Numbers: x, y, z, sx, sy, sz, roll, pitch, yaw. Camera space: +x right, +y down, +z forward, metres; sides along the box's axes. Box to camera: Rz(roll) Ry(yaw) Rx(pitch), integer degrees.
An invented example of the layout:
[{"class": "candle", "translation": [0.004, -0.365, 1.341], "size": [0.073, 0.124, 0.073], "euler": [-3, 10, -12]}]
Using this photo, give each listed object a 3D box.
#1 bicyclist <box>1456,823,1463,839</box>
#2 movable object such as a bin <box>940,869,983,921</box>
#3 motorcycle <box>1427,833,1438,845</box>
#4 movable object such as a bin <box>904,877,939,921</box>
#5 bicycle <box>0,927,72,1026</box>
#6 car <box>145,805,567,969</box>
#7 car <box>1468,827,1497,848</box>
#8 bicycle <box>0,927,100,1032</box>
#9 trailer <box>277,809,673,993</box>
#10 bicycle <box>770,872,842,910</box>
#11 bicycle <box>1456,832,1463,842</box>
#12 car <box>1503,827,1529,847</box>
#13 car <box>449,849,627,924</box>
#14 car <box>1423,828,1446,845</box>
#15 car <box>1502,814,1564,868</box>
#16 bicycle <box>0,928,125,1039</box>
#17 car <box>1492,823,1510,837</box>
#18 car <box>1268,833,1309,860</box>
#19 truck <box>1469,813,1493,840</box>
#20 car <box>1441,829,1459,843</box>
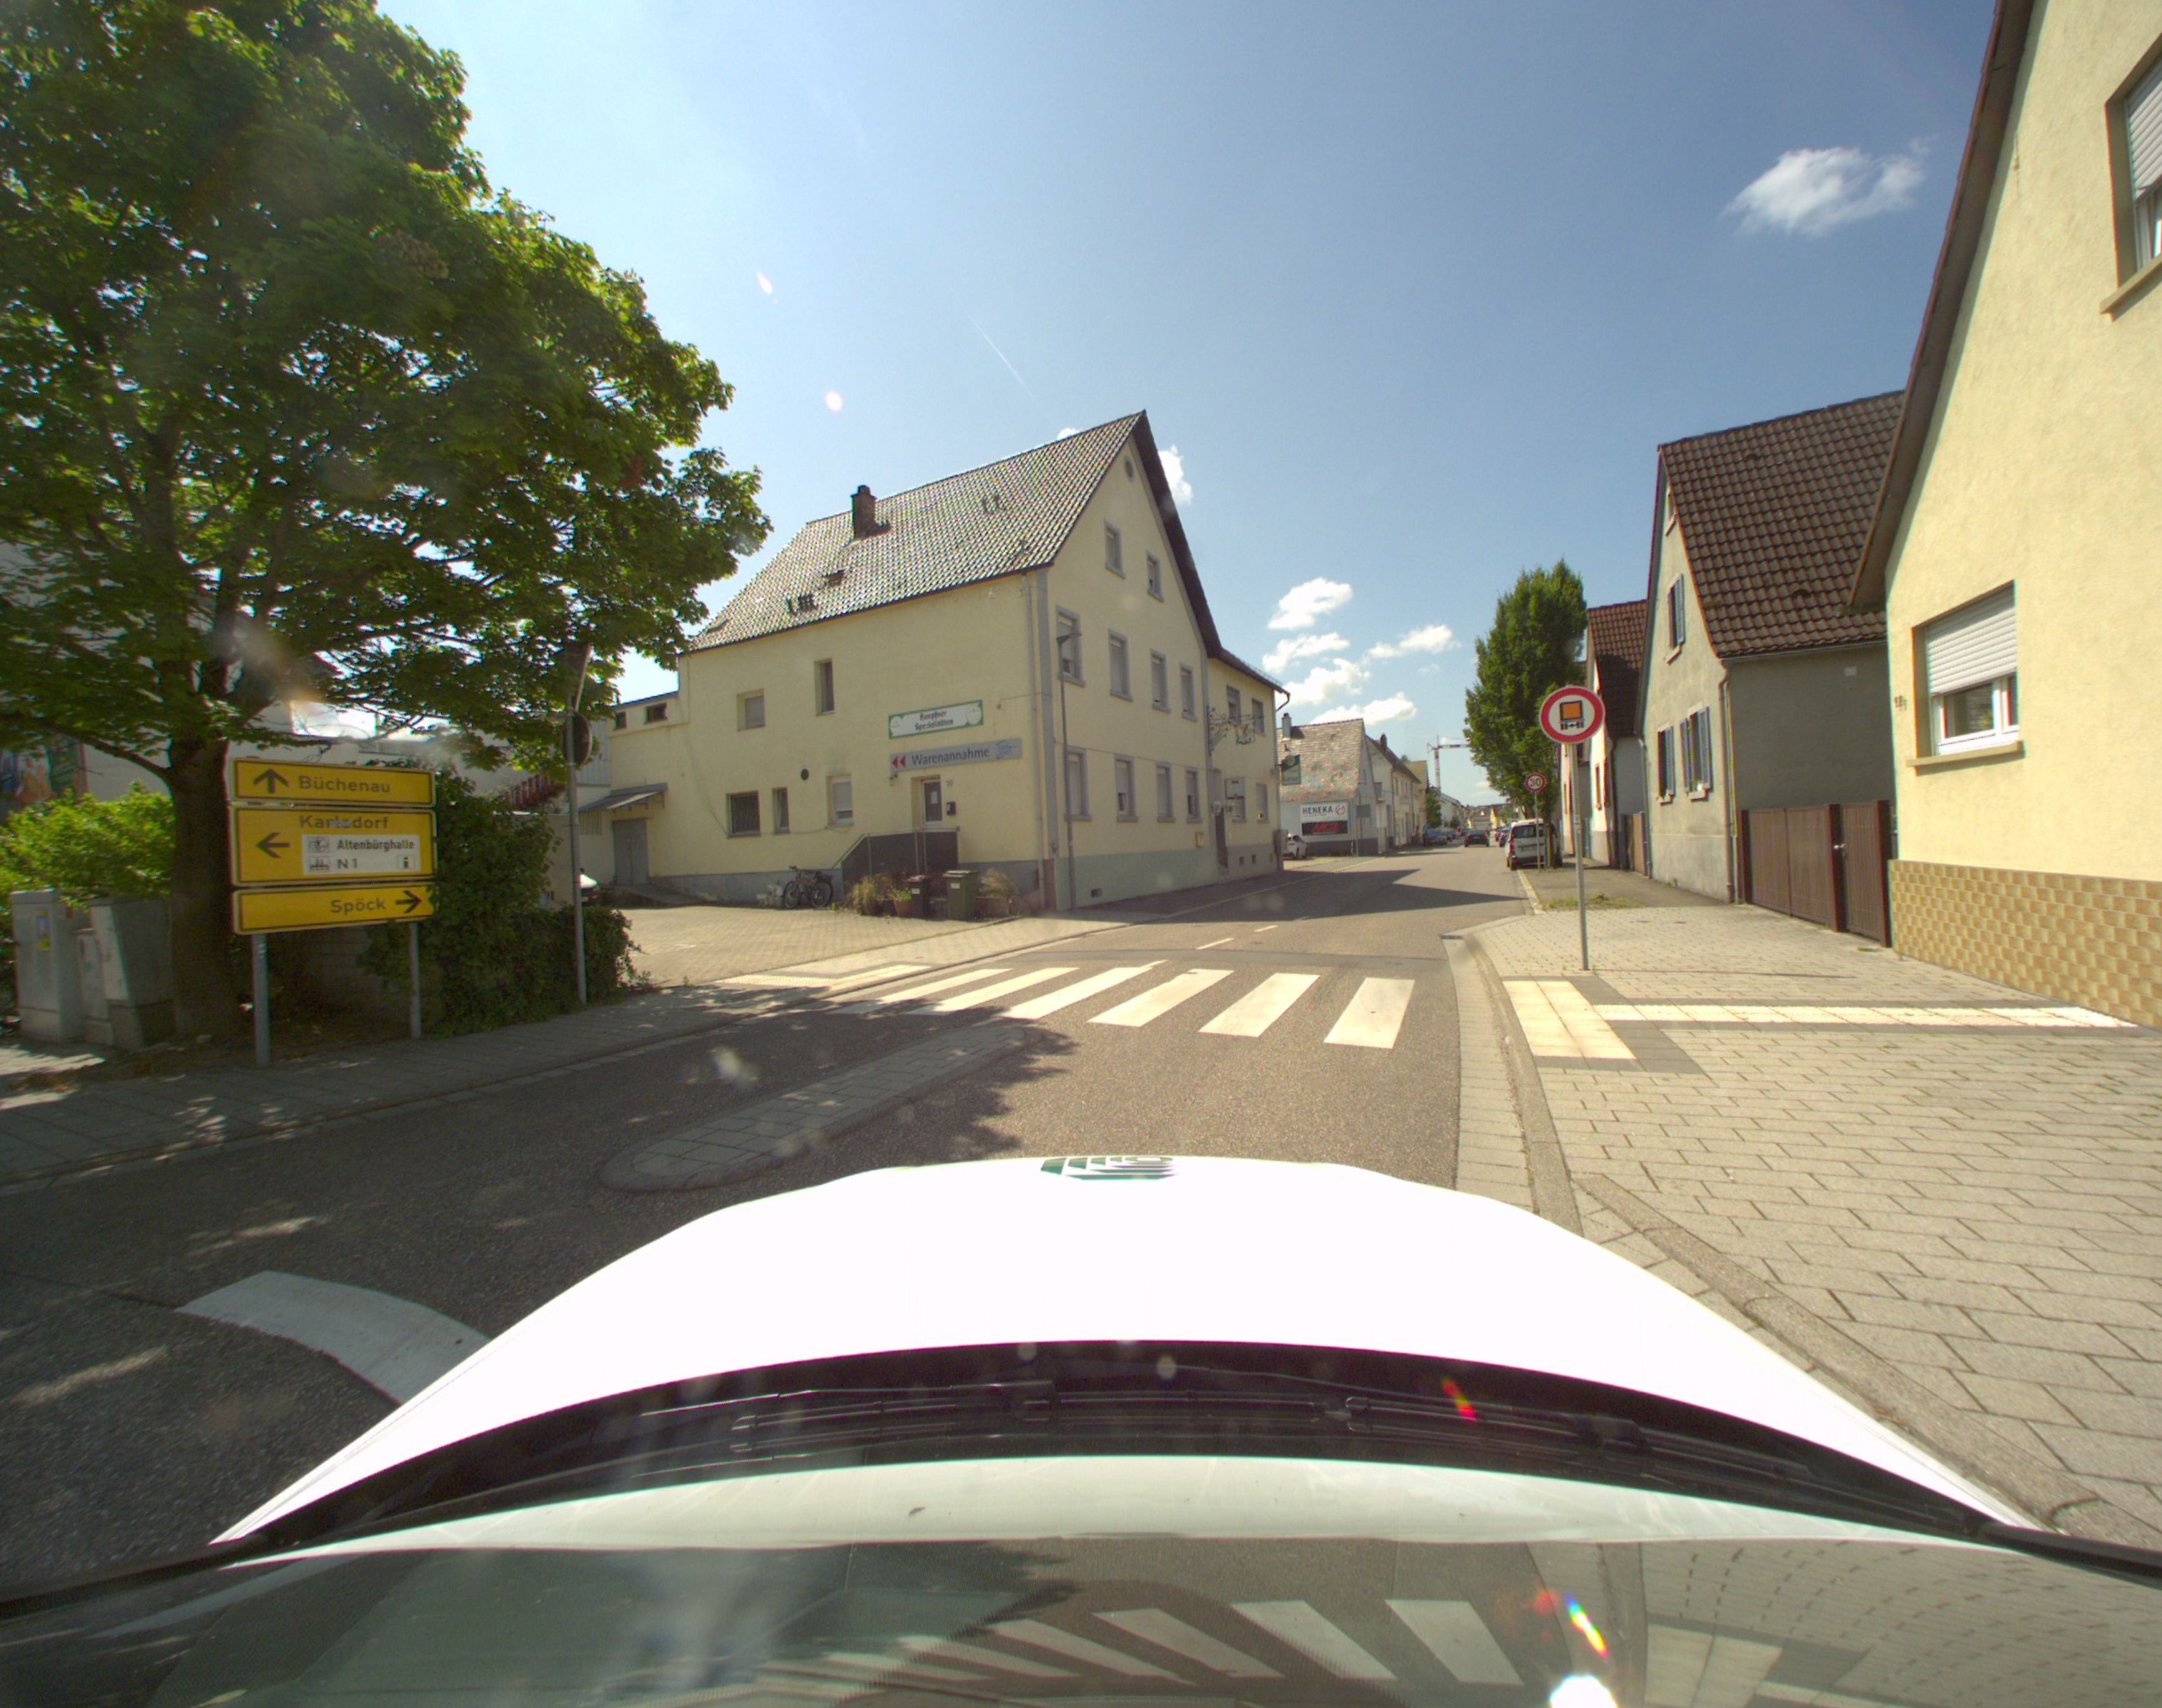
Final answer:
[{"class": "bicyclist", "translation": [49.029, -2.917, 105.485], "size": [0.733, 2.059, 0.849], "euler": [-1, 1, 27]}, {"class": "movable object such as a bin", "translation": [-2.617, 0.892, 17.874], "size": [0.594, 1.078, 0.662], "euler": [-3, 0, 30]}, {"class": "motorcycle", "translation": [32.782, -1.408, 75.973], "size": [0.838, 1.169, 2.484], "euler": [-1, 1, 26]}, {"class": "movable object such as a bin", "translation": [-3.566, 1.000, 18.234], "size": [0.474, 0.928, 0.550], "euler": [-3, 0, 30]}, {"class": "bicycle", "translation": [-12.122, 1.404, 8.469], "size": [0.397, 1.003, 1.991], "euler": [-3, 2, 16]}, {"class": "car", "translation": [-13.415, 0.442, 15.680], "size": [1.918, 2.566, 5.682], "euler": [-1, 1, 28]}, {"class": "car", "translation": [32.703, -1.352, 66.302], "size": [1.884, 1.563, 4.504], "euler": [-2, 1, 28]}, {"class": "bicycle", "translation": [-11.684, 1.398, 8.373], "size": [0.397, 1.003, 1.991], "euler": [-3, 2, 16]}, {"class": "trailer", "translation": [-9.106, 0.544, 12.765], "size": [1.861, 2.335, 4.551], "euler": [-1, 1, 28]}, {"class": "bicycle", "translation": [-7.369, 1.001, 21.769], "size": [2.148, 0.913, 0.546], "euler": [-3, 0, 32]}, {"class": "bicycle", "translation": [49.025, -2.227, 105.469], "size": [0.744, 1.307, 2.701], "euler": [-1, 1, 27]}, {"class": "car", "translation": [34.011, -1.315, 63.654], "size": [1.703, 1.461, 4.183], "euler": [-2, 1, 29]}, {"class": "car", "translation": [-14.168, 0.779, 21.210], "size": [4.524, 1.759, 1.917], "euler": [-1, 1, 28]}, {"class": "car", "translation": [34.532, -1.703, 79.403], "size": [1.792, 1.589, 4.024], "euler": [-2, 1, 27]}, {"class": "car", "translation": [16.923, -0.496, 30.661], "size": [1.703, 1.790, 4.168], "euler": [-4, 0, 26]}, {"class": "bicycle", "translation": [-11.252, 1.392, 8.246], "size": [0.397, 1.003, 1.991], "euler": [-3, 2, 16]}, {"class": "car", "translation": [46.208, -2.632, 89.587], "size": [1.703, 1.355, 4.182], "euler": [-2, 1, 27]}, {"class": "car", "translation": [13.092, -0.508, 51.231], "size": [1.704, 1.556, 4.224], "euler": [-1, 1, 26]}, {"class": "truck", "translation": [64.831, -4.432, 131.892], "size": [3.115, 4.250, 9.360], "euler": [-1, 1, 29]}, {"class": "car", "translation": [45.959, -2.222, 101.421], "size": [1.792, 1.589, 4.024], "euler": [-2, 1, 27]}]
